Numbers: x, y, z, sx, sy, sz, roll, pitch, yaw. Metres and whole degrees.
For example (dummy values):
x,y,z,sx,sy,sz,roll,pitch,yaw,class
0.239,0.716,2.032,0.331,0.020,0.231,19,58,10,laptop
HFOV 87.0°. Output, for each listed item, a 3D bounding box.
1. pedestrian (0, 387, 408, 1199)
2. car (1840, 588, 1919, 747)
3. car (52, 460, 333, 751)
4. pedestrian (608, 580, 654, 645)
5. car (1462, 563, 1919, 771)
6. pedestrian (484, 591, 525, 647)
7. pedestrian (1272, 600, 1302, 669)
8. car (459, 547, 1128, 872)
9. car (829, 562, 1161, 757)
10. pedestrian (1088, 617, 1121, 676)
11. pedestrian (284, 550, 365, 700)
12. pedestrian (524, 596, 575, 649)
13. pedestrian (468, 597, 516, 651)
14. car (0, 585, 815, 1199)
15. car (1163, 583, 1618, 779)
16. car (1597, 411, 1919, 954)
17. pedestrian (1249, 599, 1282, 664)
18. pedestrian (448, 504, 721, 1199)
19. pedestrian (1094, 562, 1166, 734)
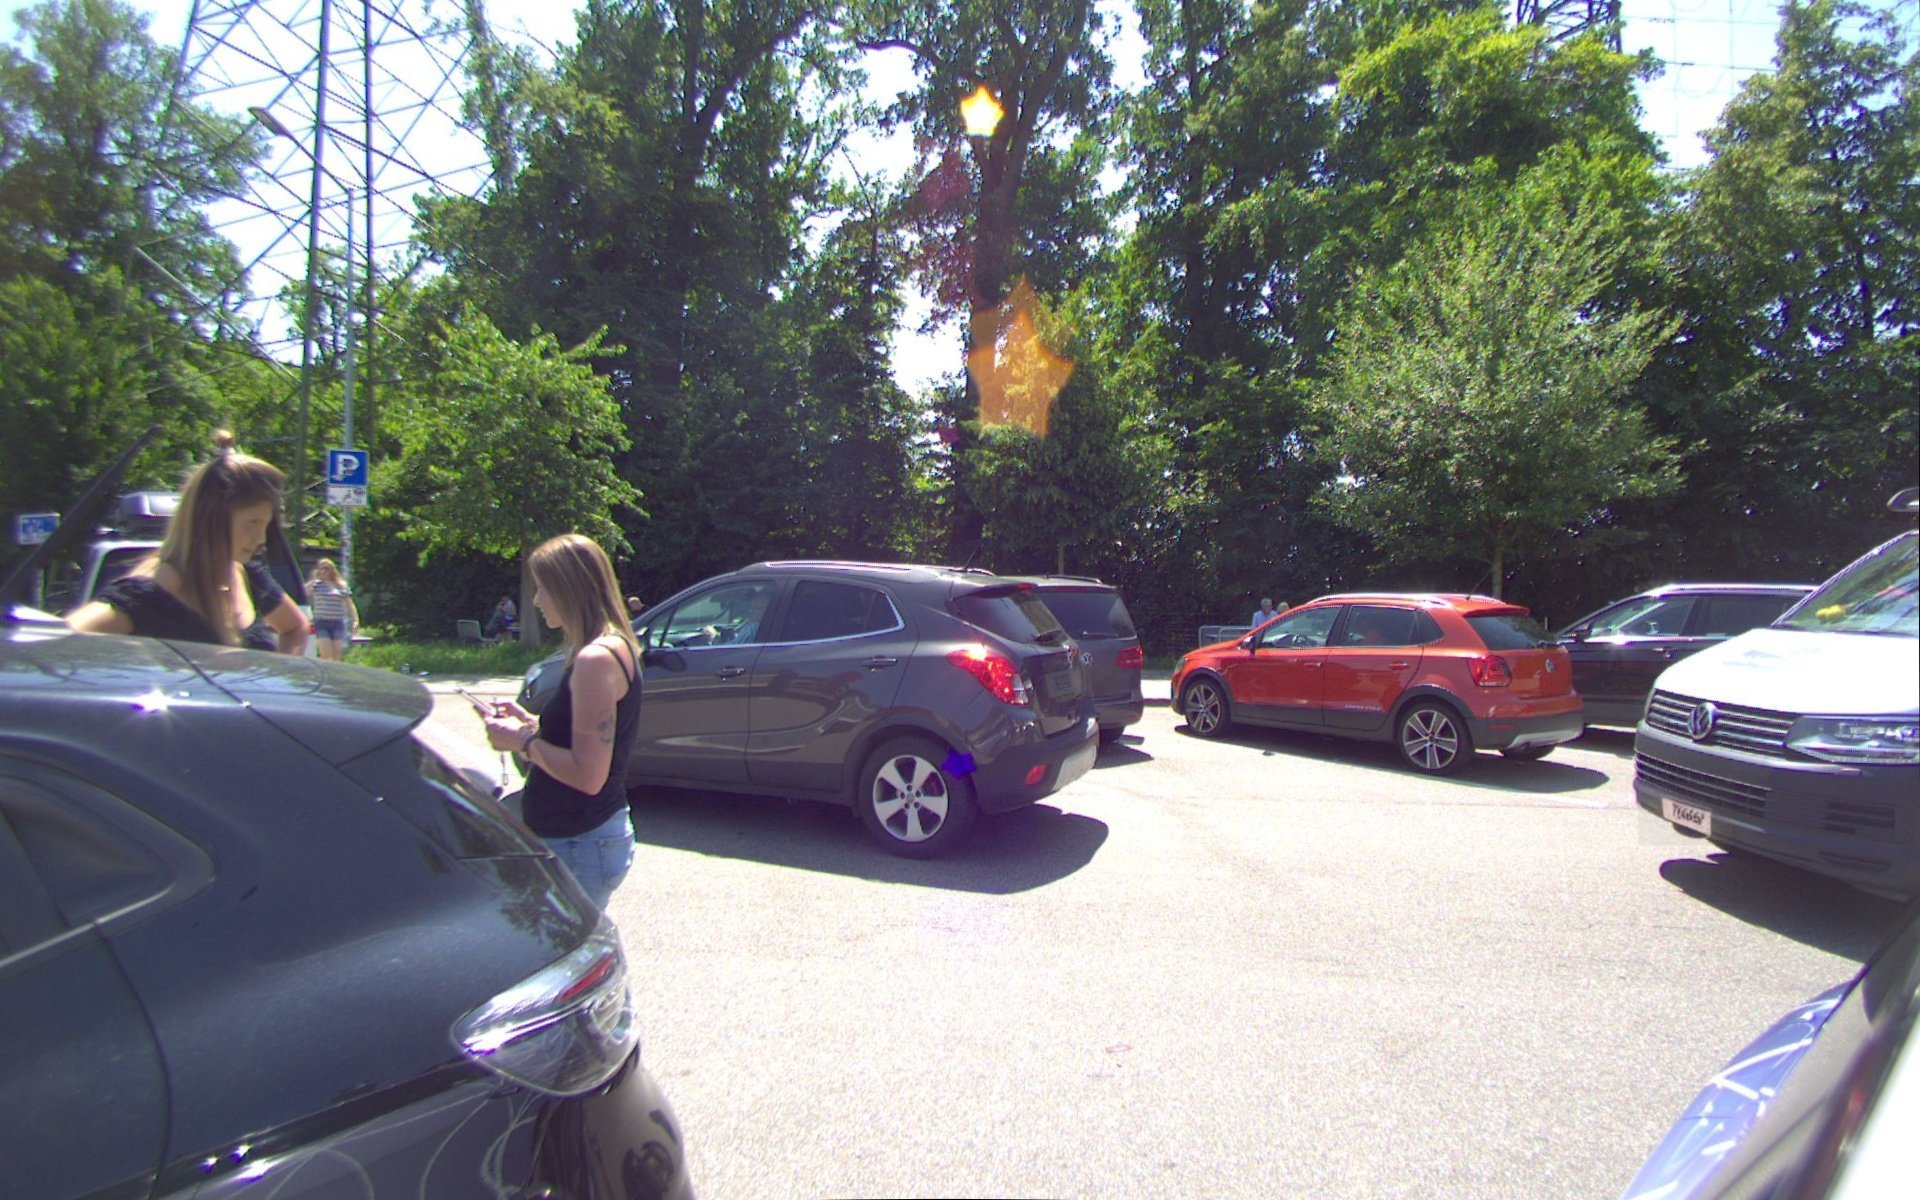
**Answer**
x,y,z,sx,sy,sz,roll,pitch,yaw,class
-1.820,0.513,2.508,0.477,1.883,0.914,1,0,-8,pedestrian
10.413,0.649,8.879,1.813,1.473,3.776,1,0,-36,car
-8.356,0.035,10.809,1.897,2.400,4.963,1,0,-43,car
-6.946,0.250,21.356,0.539,1.354,0.758,0,0,37,pedestrian
7.175,0.523,9.753,1.679,1.637,3.863,1,0,-40,car
-11.037,0.448,24.523,0.539,1.318,0.758,0,0,37,pedestrian
5.775,0.599,17.883,0.348,1.207,0.367,0,0,-20,pedestrian
-1.114,0.533,6.801,4.121,1.637,1.824,1,0,24,car
0.161,0.489,10.627,1.670,1.637,3.912,0,0,-30,car
2.259,0.712,15.746,0.494,0.890,0.512,0,-1,10,pedestrian
-8.401,0.312,13.377,0.763,1.903,0.838,0,0,-42,pedestrian
-9.580,0.501,23.636,0.810,1.201,0.836,0,0,40,pedestrian
-10.495,0.517,22.702,0.785,1.178,0.696,0,0,39,pedestrian
-2.094,0.733,0.756,1.777,1.476,3.627,0,1,44,car
3.873,0.610,9.677,1.588,1.485,3.751,1,0,-34,car
6.285,0.344,4.697,5.336,2.131,1.842,1,1,4,car
5.756,0.589,19.072,0.433,1.207,0.414,0,0,-30,pedestrian
-0.961,0.594,2.588,0.477,1.614,0.502,1,-1,-44,pedestrian
1.773,0.486,10.585,0.576,1.744,0.483,0,0,-20,pedestrian
